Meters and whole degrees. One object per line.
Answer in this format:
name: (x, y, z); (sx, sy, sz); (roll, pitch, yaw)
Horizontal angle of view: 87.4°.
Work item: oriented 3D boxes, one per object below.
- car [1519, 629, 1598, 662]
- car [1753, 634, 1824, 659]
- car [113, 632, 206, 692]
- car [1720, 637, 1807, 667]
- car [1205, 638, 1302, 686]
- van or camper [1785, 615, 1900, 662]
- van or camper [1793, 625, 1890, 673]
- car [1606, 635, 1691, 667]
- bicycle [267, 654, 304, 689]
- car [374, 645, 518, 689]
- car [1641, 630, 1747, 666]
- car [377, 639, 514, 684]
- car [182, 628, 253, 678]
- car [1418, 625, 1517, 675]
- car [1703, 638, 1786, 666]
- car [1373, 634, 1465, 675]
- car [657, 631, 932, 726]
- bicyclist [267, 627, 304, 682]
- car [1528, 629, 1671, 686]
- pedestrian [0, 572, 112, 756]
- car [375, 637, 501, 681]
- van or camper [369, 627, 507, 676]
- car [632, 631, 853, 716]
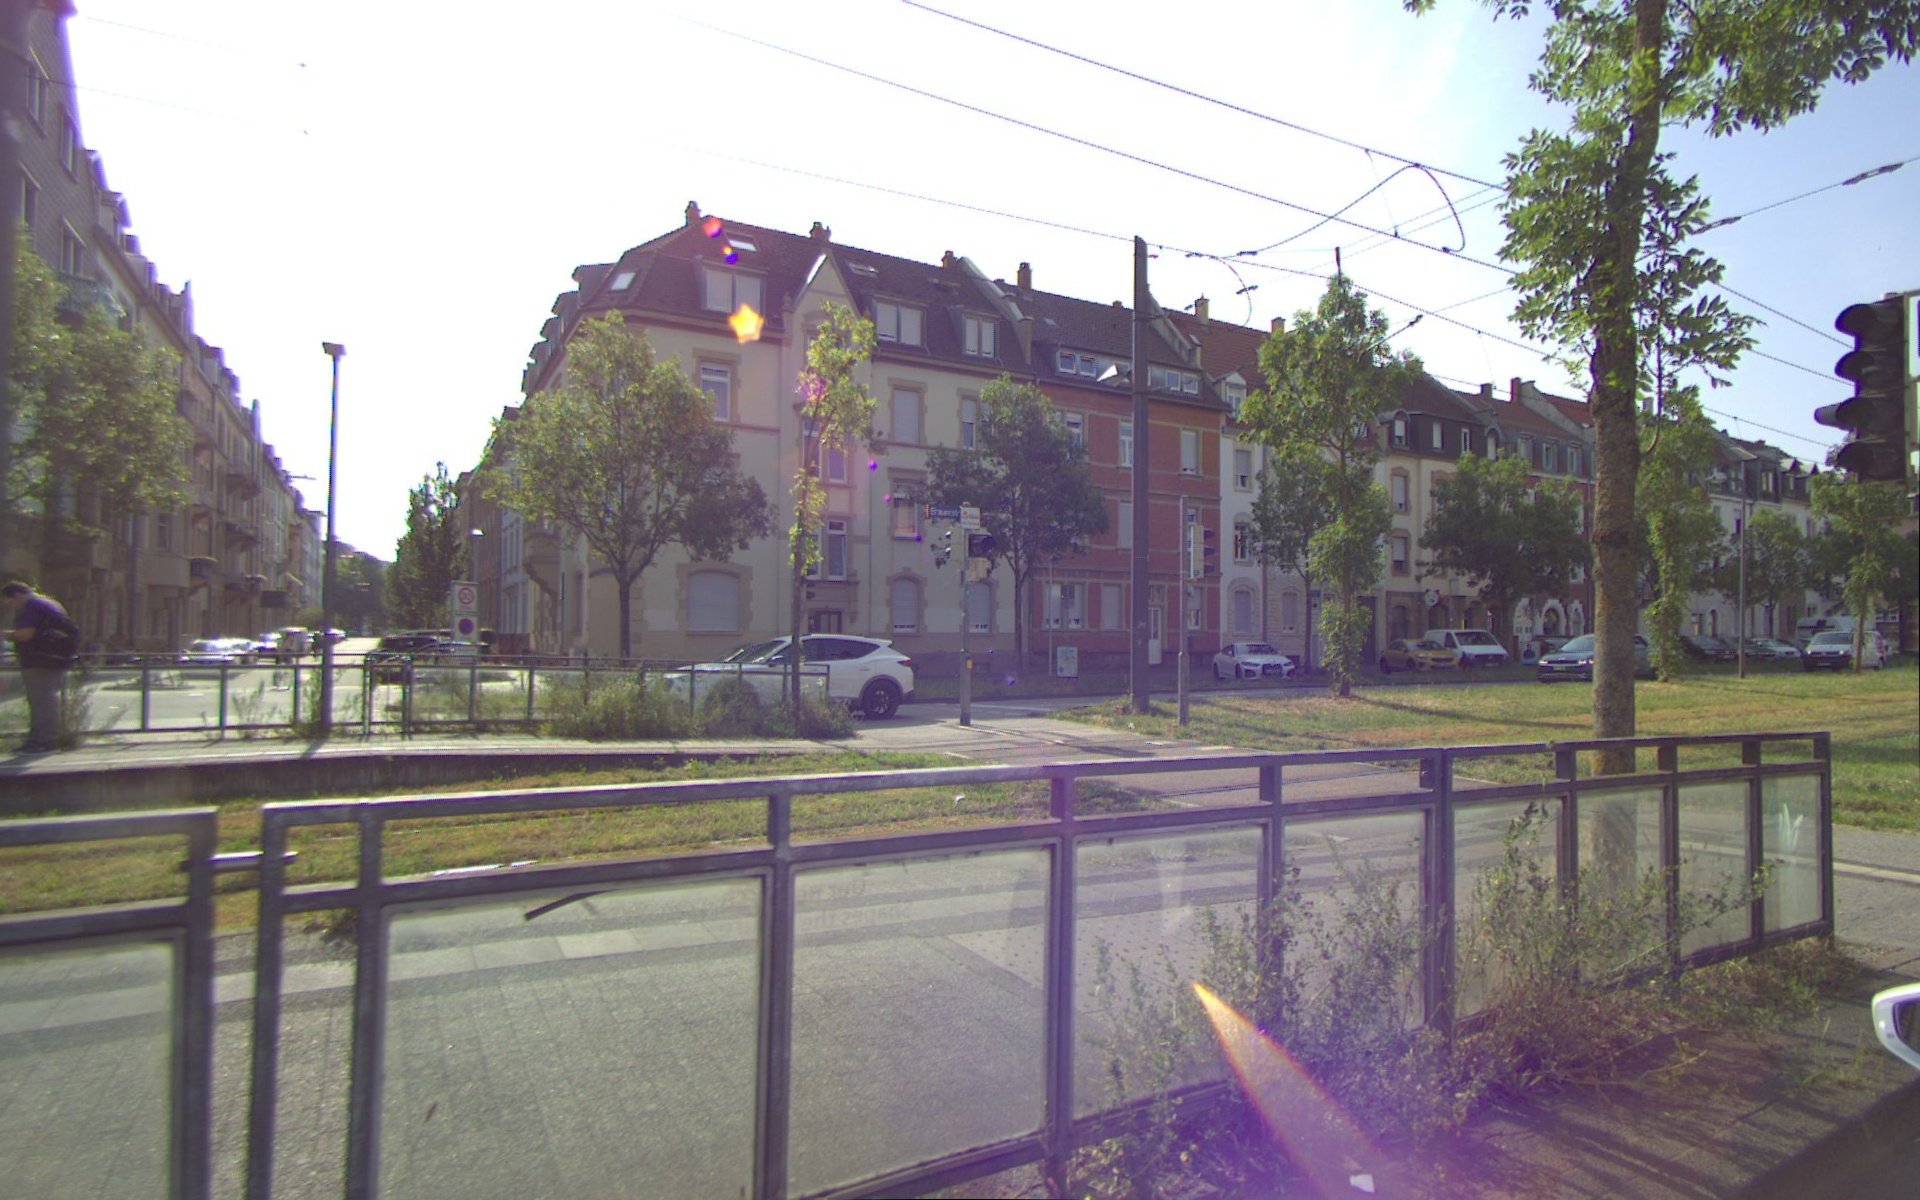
car: (26.322, 1.980, 44.296); (1.495, 1.258, 3.688); (-1, 0, 4)
car: (48.609, 2.703, 59.017); (1.628, 1.258, 3.689); (2, 0, 10)
car: (-24.912, 1.887, 31.383); (1.585, 1.604, 3.797); (2, 0, -29)
car: (43.093, 2.766, 54.002); (1.629, 1.334, 4.016); (2, 0, 4)
car: (10.156, 2.108, 35.157); (1.983, 1.505, 4.779); (2, -2, 1)
van or camper: (54.286, 2.299, 61.969); (2.155, 2.608, 5.928); (2, 0, 4)
van or camper: (41.788, 2.317, 47.594); (5.292, 2.125, 1.941); (2, 0, -31)
car: (32.284, 2.379, 47.203); (1.629, 1.258, 3.688); (2, 0, 4)
bicycle: (-20.057, 2.100, 29.899); (0.849, 0.877, 2.001); (2, 0, -33)
car: (-16.289, 2.110, 31.890); (3.954, 1.316, 1.660); (2, -3, -31)
car: (37.526, 2.437, 51.518); (1.798, 1.765, 4.647); (0, -2, -4)
car: (-17.155, 2.043, 33.521); (3.954, 1.431, 1.660); (2, -3, -31)
car: (-29.544, 2.078, 40.085); (1.707, 1.717, 3.969); (2, 0, -29)
car: (20.811, 2.012, 41.424); (1.819, 1.749, 4.954); (2, 0, 4)
car: (40.721, 2.680, 52.244); (1.629, 1.258, 3.688); (2, 0, 4)
car: (18.355, 2.147, 40.398); (1.819, 1.366, 4.702); (2, 0, 4)
car: (-2.810, 1.313, 17.393); (4.373, 1.459, 1.763); (2, -4, -31)
bicyclist: (-19.999, 1.603, 29.799); (0.840, 1.579, 0.894); (2, 0, -34)
car: (19.481, 1.734, 30.563); (4.524, 1.553, 1.825); (2, 0, -31)
pedestrian: (-8.815, 0.603, 9.628); (0.842, 1.676, 0.880); (2, -2, -30)
car: (-19.050, 2.131, 36.698); (3.954, 1.534, 1.660); (2, -3, -31)
van or camper: (-22.369, 2.207, 43.138); (4.972, 1.946, 1.777); (1, -2, 3)
car: (-4.251, 1.409, 19.803); (3.954, 1.534, 1.660); (2, -3, -31)
